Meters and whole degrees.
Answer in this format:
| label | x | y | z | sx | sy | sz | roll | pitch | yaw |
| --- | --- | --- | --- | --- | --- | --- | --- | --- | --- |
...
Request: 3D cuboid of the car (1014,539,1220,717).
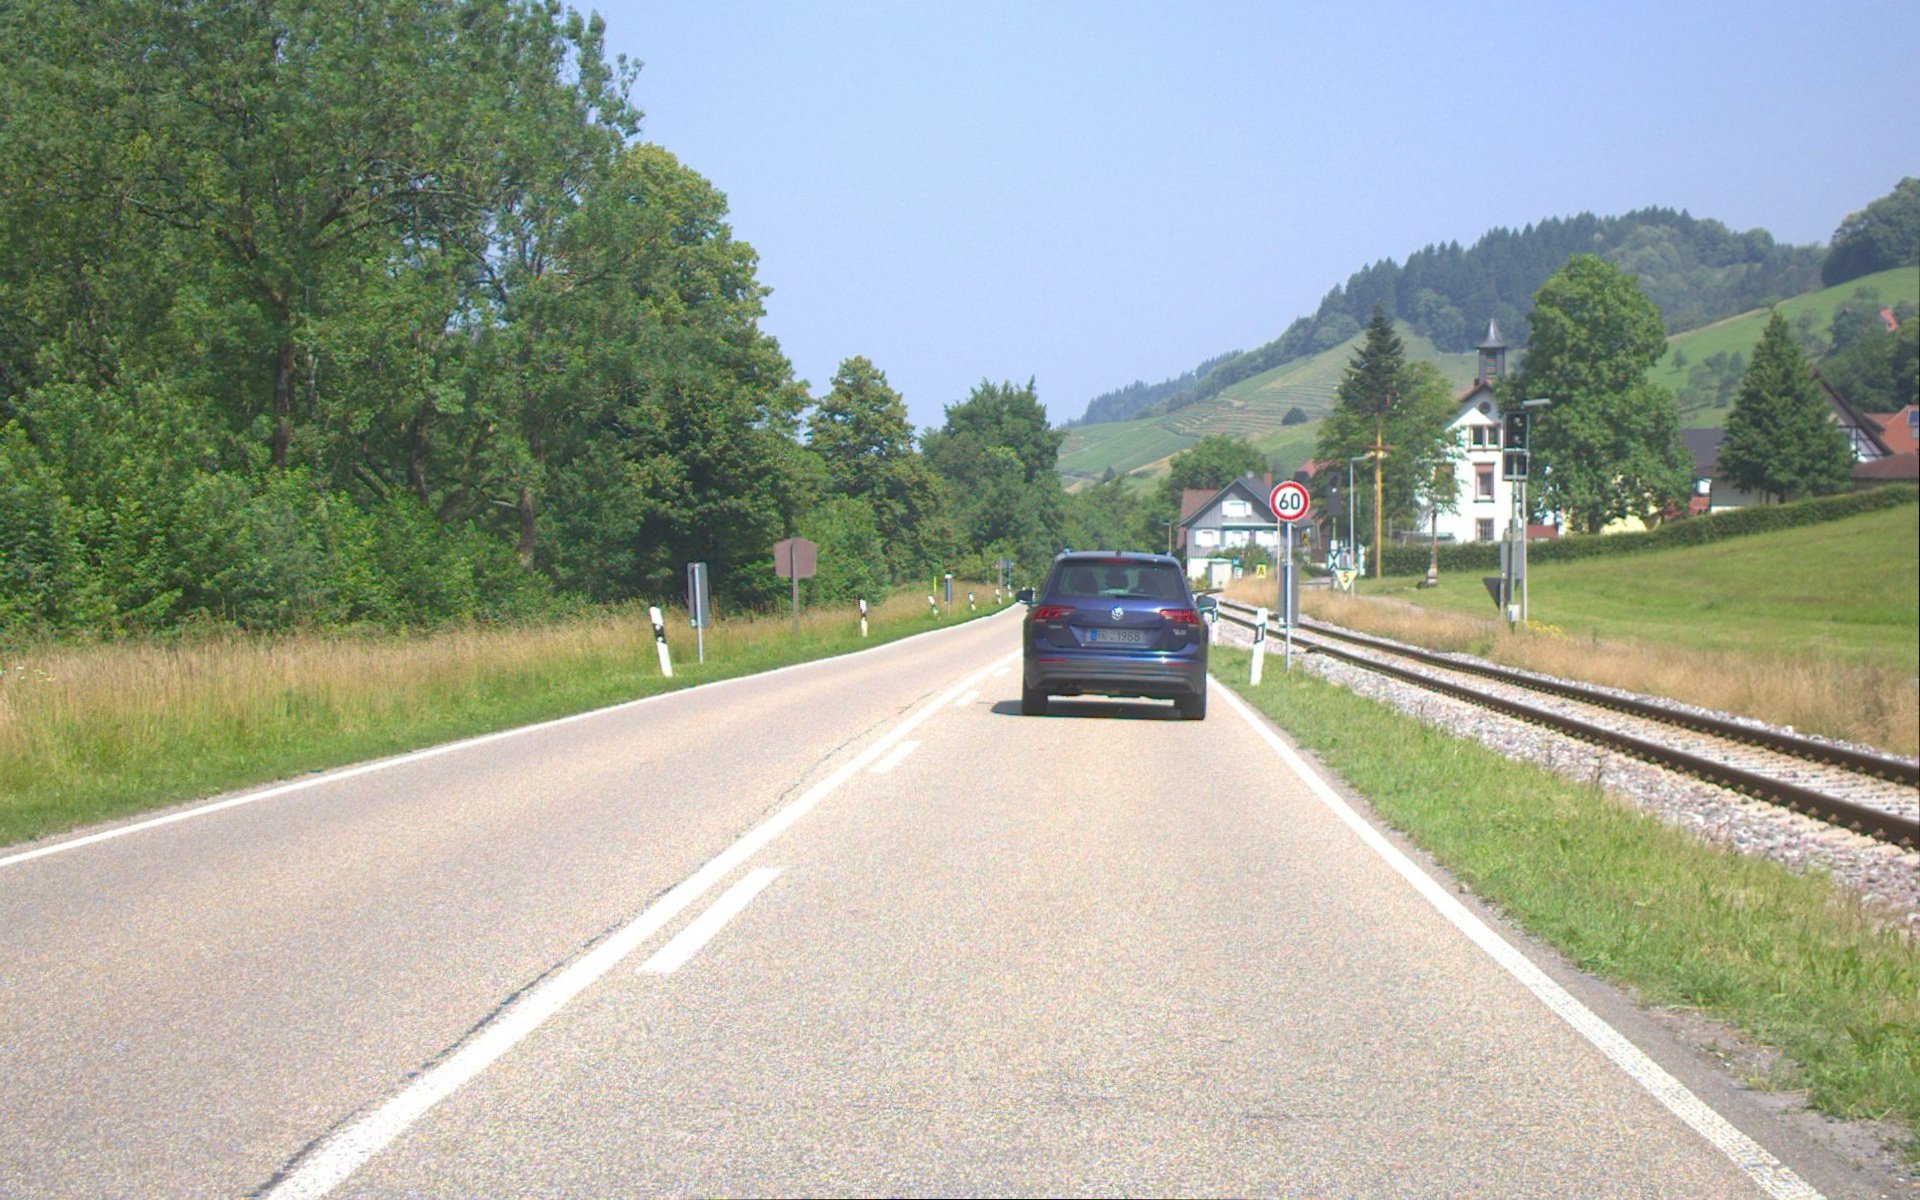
| label | x | y | z | sx | sy | sz | roll | pitch | yaw |
| --- | --- | --- | --- | --- | --- | --- | --- | --- | --- |
| car | 1.522 | 0.250 | 34.751 | 1.852 | 1.643 | 4.140 | 2 | 0 | 0 |
